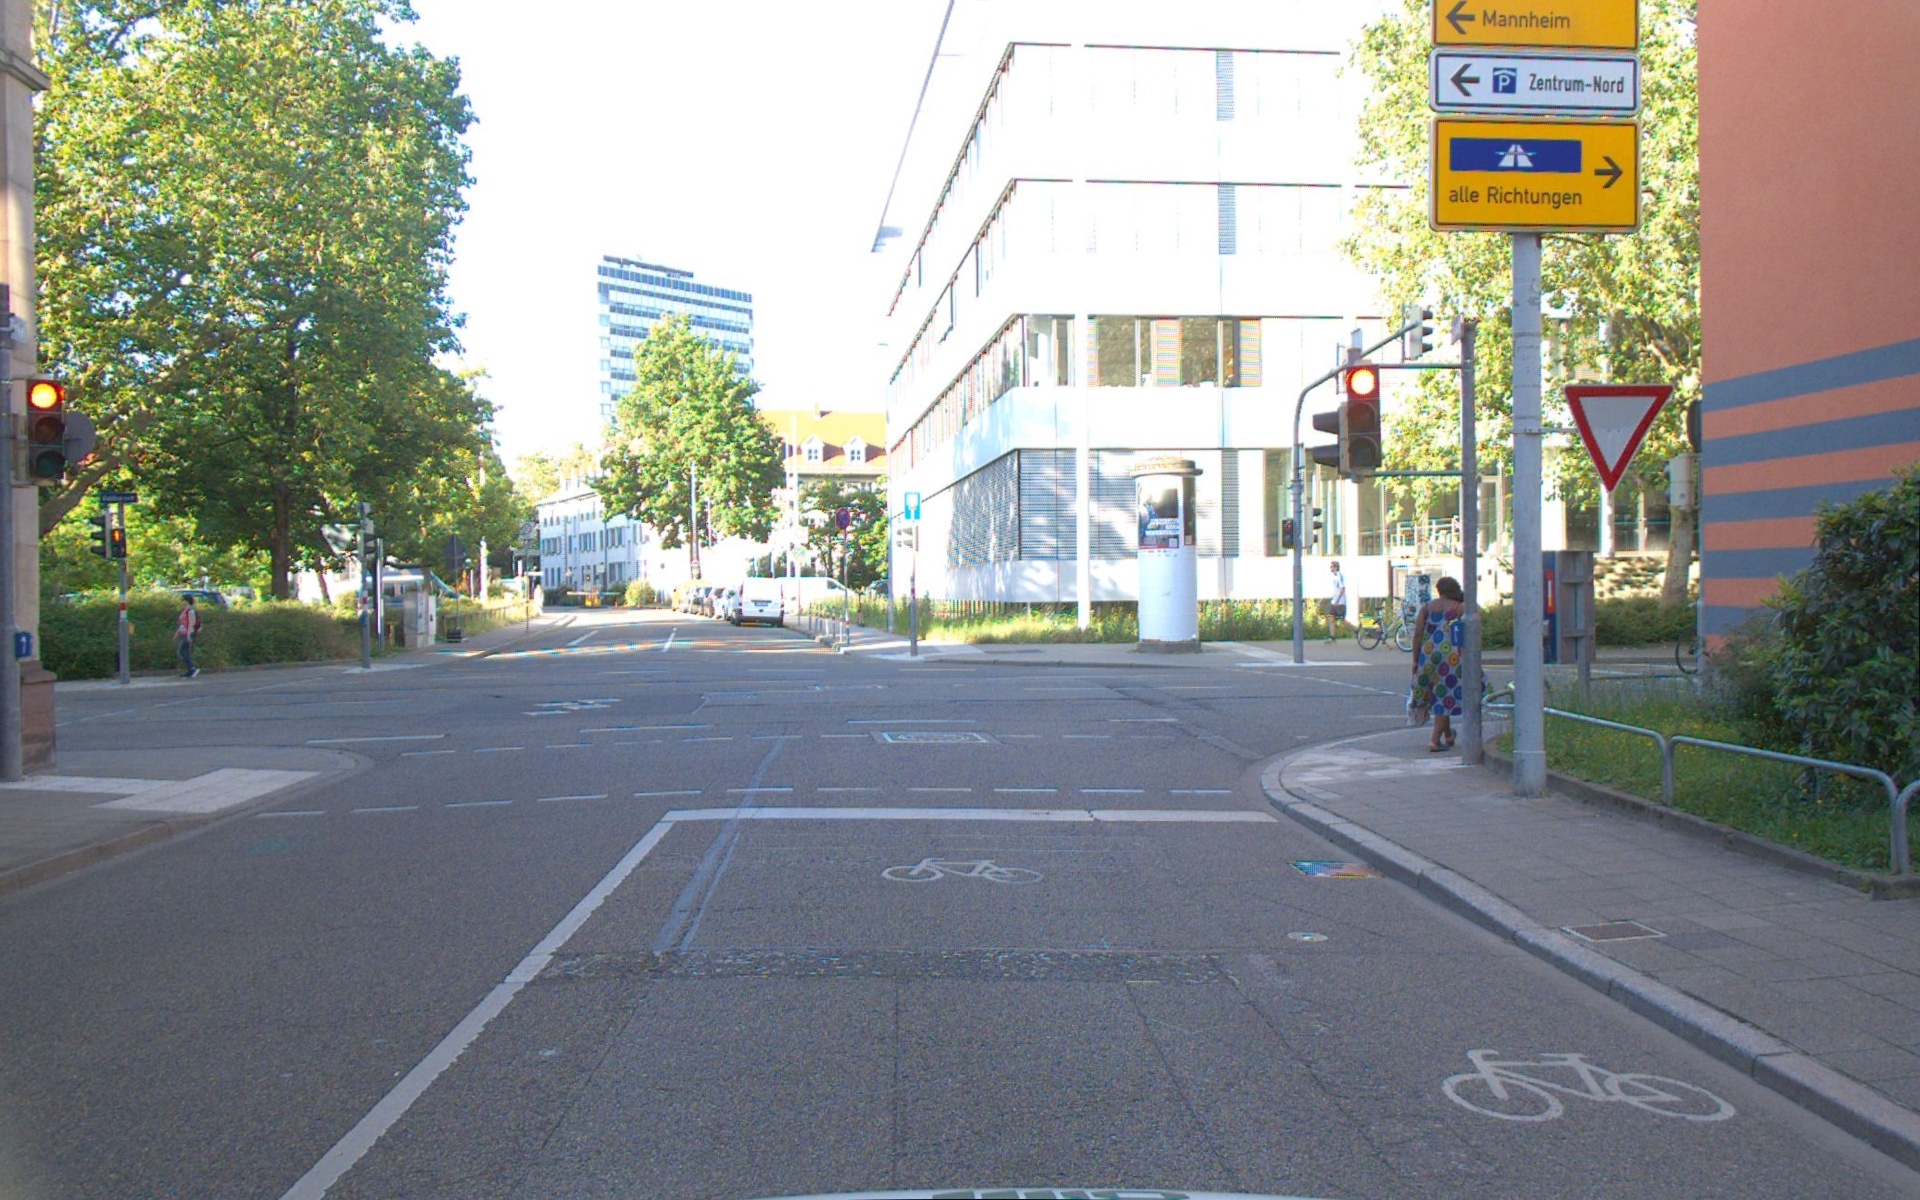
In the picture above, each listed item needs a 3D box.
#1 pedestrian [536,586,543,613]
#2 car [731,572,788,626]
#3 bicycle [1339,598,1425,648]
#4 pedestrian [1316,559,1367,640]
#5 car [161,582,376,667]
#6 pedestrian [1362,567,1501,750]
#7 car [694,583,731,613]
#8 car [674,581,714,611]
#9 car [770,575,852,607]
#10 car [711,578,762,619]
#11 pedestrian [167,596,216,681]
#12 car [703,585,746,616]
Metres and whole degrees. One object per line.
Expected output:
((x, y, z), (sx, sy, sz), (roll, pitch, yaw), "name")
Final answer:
((-24.407, -0.037, 95.986), (0.373, 1.561, 0.444), (-1, 0, -13), "pedestrian")
((-7.864, -0.043, 64.512), (2.029, 1.997, 4.229), (-1, 1, -9), "car")
((9.225, 0.502, 36.241), (0.460, 1.067, 1.886), (-1, 0, -42), "bicycle")
((8.863, -0.014, 38.422), (1.020, 1.863, 0.537), (-1, 0, 35), "pedestrian")
((-15.762, 0.529, 37.894), (4.146, 1.808, 1.901), (-1, 0, -9), "car")
((4.340, 0.535, 15.217), (0.938, 1.600, 0.748), (-4, 0, 36), "pedestrian")
((-12.855, -0.098, 85.632), (1.674, 1.490, 4.226), (-1, 1, -11), "car")
((-15.384, -0.256, 95.416), (2.063, 1.687, 4.463), (-1, 1, -11), "car")
((-9.254, -0.551, 102.643), (4.804, 1.905, 1.990), (0, -1, -17), "car")
((-10.356, -0.077, 76.393), (1.913, 1.826, 4.224), (-1, 1, -13), "car")
((-15.166, 0.750, 32.640), (0.708, 1.627, 0.608), (-1, 0, -42), "pedestrian")
((-11.576, 0.013, 81.179), (1.675, 1.449, 4.223), (-1, 1, -14), "car")
